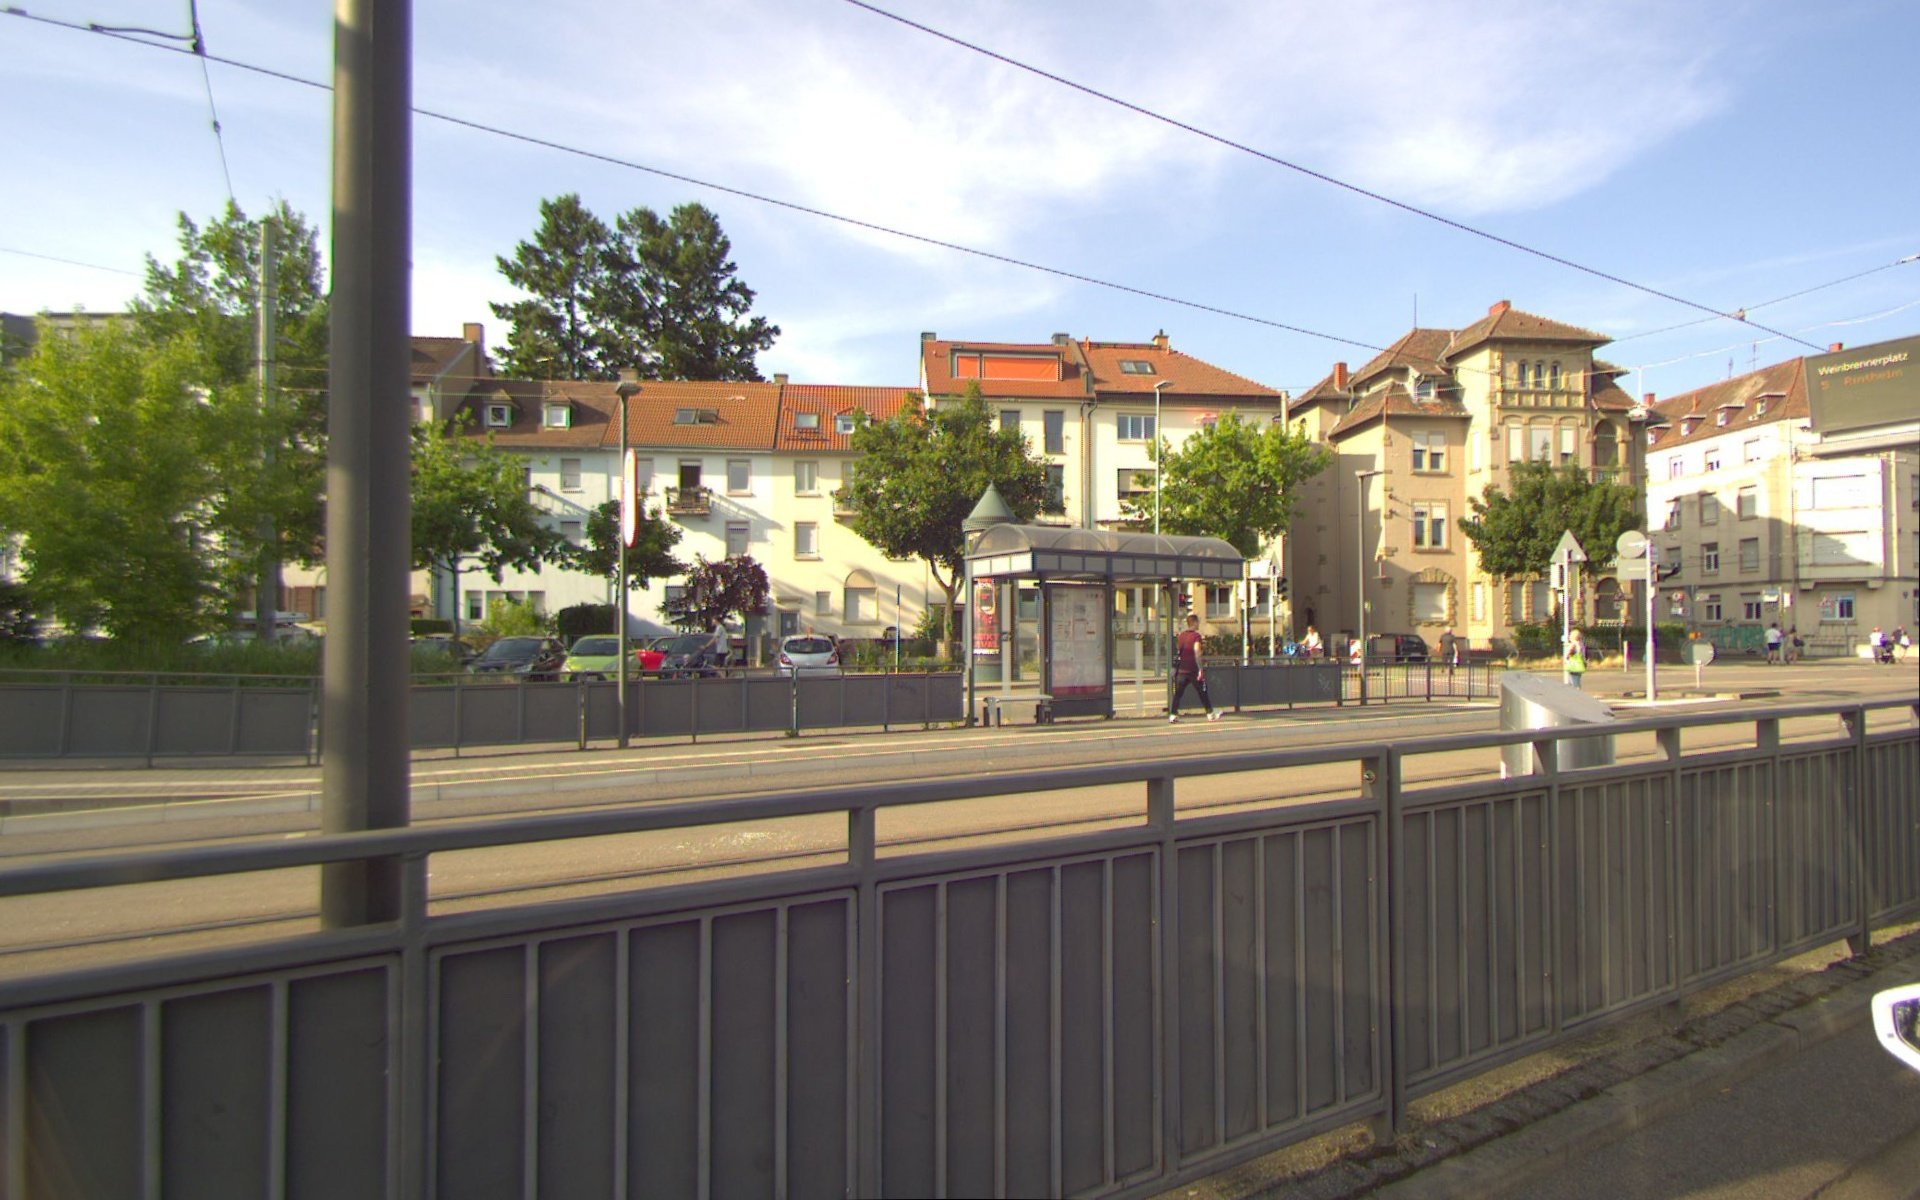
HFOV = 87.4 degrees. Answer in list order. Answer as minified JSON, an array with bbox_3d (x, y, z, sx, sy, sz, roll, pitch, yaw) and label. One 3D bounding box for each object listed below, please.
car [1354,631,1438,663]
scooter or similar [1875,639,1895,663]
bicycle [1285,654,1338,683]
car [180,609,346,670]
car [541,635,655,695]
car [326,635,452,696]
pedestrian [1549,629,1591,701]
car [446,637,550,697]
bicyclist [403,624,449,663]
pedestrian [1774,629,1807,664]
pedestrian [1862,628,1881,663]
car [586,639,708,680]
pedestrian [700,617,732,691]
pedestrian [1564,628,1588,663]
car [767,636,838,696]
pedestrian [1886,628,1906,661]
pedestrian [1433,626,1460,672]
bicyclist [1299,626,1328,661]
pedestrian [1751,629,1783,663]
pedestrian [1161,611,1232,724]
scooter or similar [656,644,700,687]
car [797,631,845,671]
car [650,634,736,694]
[{"bbox_3d":[20.373,2.178,47.126,1.732,1.327,4.111,2,0,-7],"label":"car"},{"bbox_3d":[44.547,2.450,48.363,0.675,1.093,0.541,2,0,-30],"label":"scooter or similar"},{"bbox_3d":[10.552,2.042,30.120,1.666,0.845,0.524,1,-2,-29],"label":"bicycle"},{"bbox_3d":[-18.660,1.057,27.122,1.813,1.505,3.999,0,-2,-3],"label":"car"},{"bbox_3d":[-9.710,1.717,27.260,1.813,1.505,3.999,0,-2,-3],"label":"car"},{"bbox_3d":[-14.402,1.606,25.594,1.968,1.416,3.985,0,-2,-18],"label":"car"},{"bbox_3d":[13.971,1.475,23.005,0.627,1.620,0.608,1,-2,-36],"label":"pedestrian"},{"bbox_3d":[-11.957,1.679,26.240,1.968,1.416,3.985,0,-2,-18],"label":"car"},{"bbox_3d":[-17.754,1.441,33.411,1.153,1.278,0.765,0,-2,-8],"label":"bicyclist"},{"bbox_3d":[38.082,2.122,46.065,0.768,1.572,0.831,0,-2,-8],"label":"pedestrian"},{"bbox_3d":[43.602,2.168,48.055,0.601,1.647,0.506,1,-2,-29],"label":"pedestrian"},{"bbox_3d":[-11.224,2.129,36.247,3.927,1.416,1.836,0,-2,-9],"label":"car"},{"bbox_3d":[-5.925,1.292,24.379,0.750,1.769,0.547,0,-2,-14],"label":"pedestrian"},{"bbox_3d":[27.512,2.034,44.854,0.702,1.561,0.626,1,-2,-30],"label":"pedestrian"},{"bbox_3d":[-4.347,1.770,27.824,1.815,1.505,3.995,0,-2,-9],"label":"car"},{"bbox_3d":[44.168,2.097,47.409,0.540,1.520,0.437,0,-2,-15],"label":"pedestrian"},{"bbox_3d":[17.895,1.807,36.962,0.778,1.667,0.757,-1,-2,16],"label":"pedestrian"},{"bbox_3d":[10.616,1.301,30.175,0.671,1.058,0.510,1,-2,-29],"label":"bicyclist"},{"bbox_3d":[37.754,2.153,46.985,0.768,1.572,0.831,0,-2,-8],"label":"pedestrian"},{"bbox_3d":[3.701,1.055,15.739,0.867,1.706,0.551,1,-5,-30],"label":"pedestrian"},{"bbox_3d":[-6.771,1.564,24.146,1.006,1.001,0.556,0,-2,-15],"label":"scooter or similar"},{"bbox_3d":[-6.056,2.204,44.207,1.962,1.684,3.997,0,-2,-6],"label":"car"},{"bbox_3d":[-7.164,1.687,27.286,1.815,1.505,3.995,0,-2,-9],"label":"car"}]
